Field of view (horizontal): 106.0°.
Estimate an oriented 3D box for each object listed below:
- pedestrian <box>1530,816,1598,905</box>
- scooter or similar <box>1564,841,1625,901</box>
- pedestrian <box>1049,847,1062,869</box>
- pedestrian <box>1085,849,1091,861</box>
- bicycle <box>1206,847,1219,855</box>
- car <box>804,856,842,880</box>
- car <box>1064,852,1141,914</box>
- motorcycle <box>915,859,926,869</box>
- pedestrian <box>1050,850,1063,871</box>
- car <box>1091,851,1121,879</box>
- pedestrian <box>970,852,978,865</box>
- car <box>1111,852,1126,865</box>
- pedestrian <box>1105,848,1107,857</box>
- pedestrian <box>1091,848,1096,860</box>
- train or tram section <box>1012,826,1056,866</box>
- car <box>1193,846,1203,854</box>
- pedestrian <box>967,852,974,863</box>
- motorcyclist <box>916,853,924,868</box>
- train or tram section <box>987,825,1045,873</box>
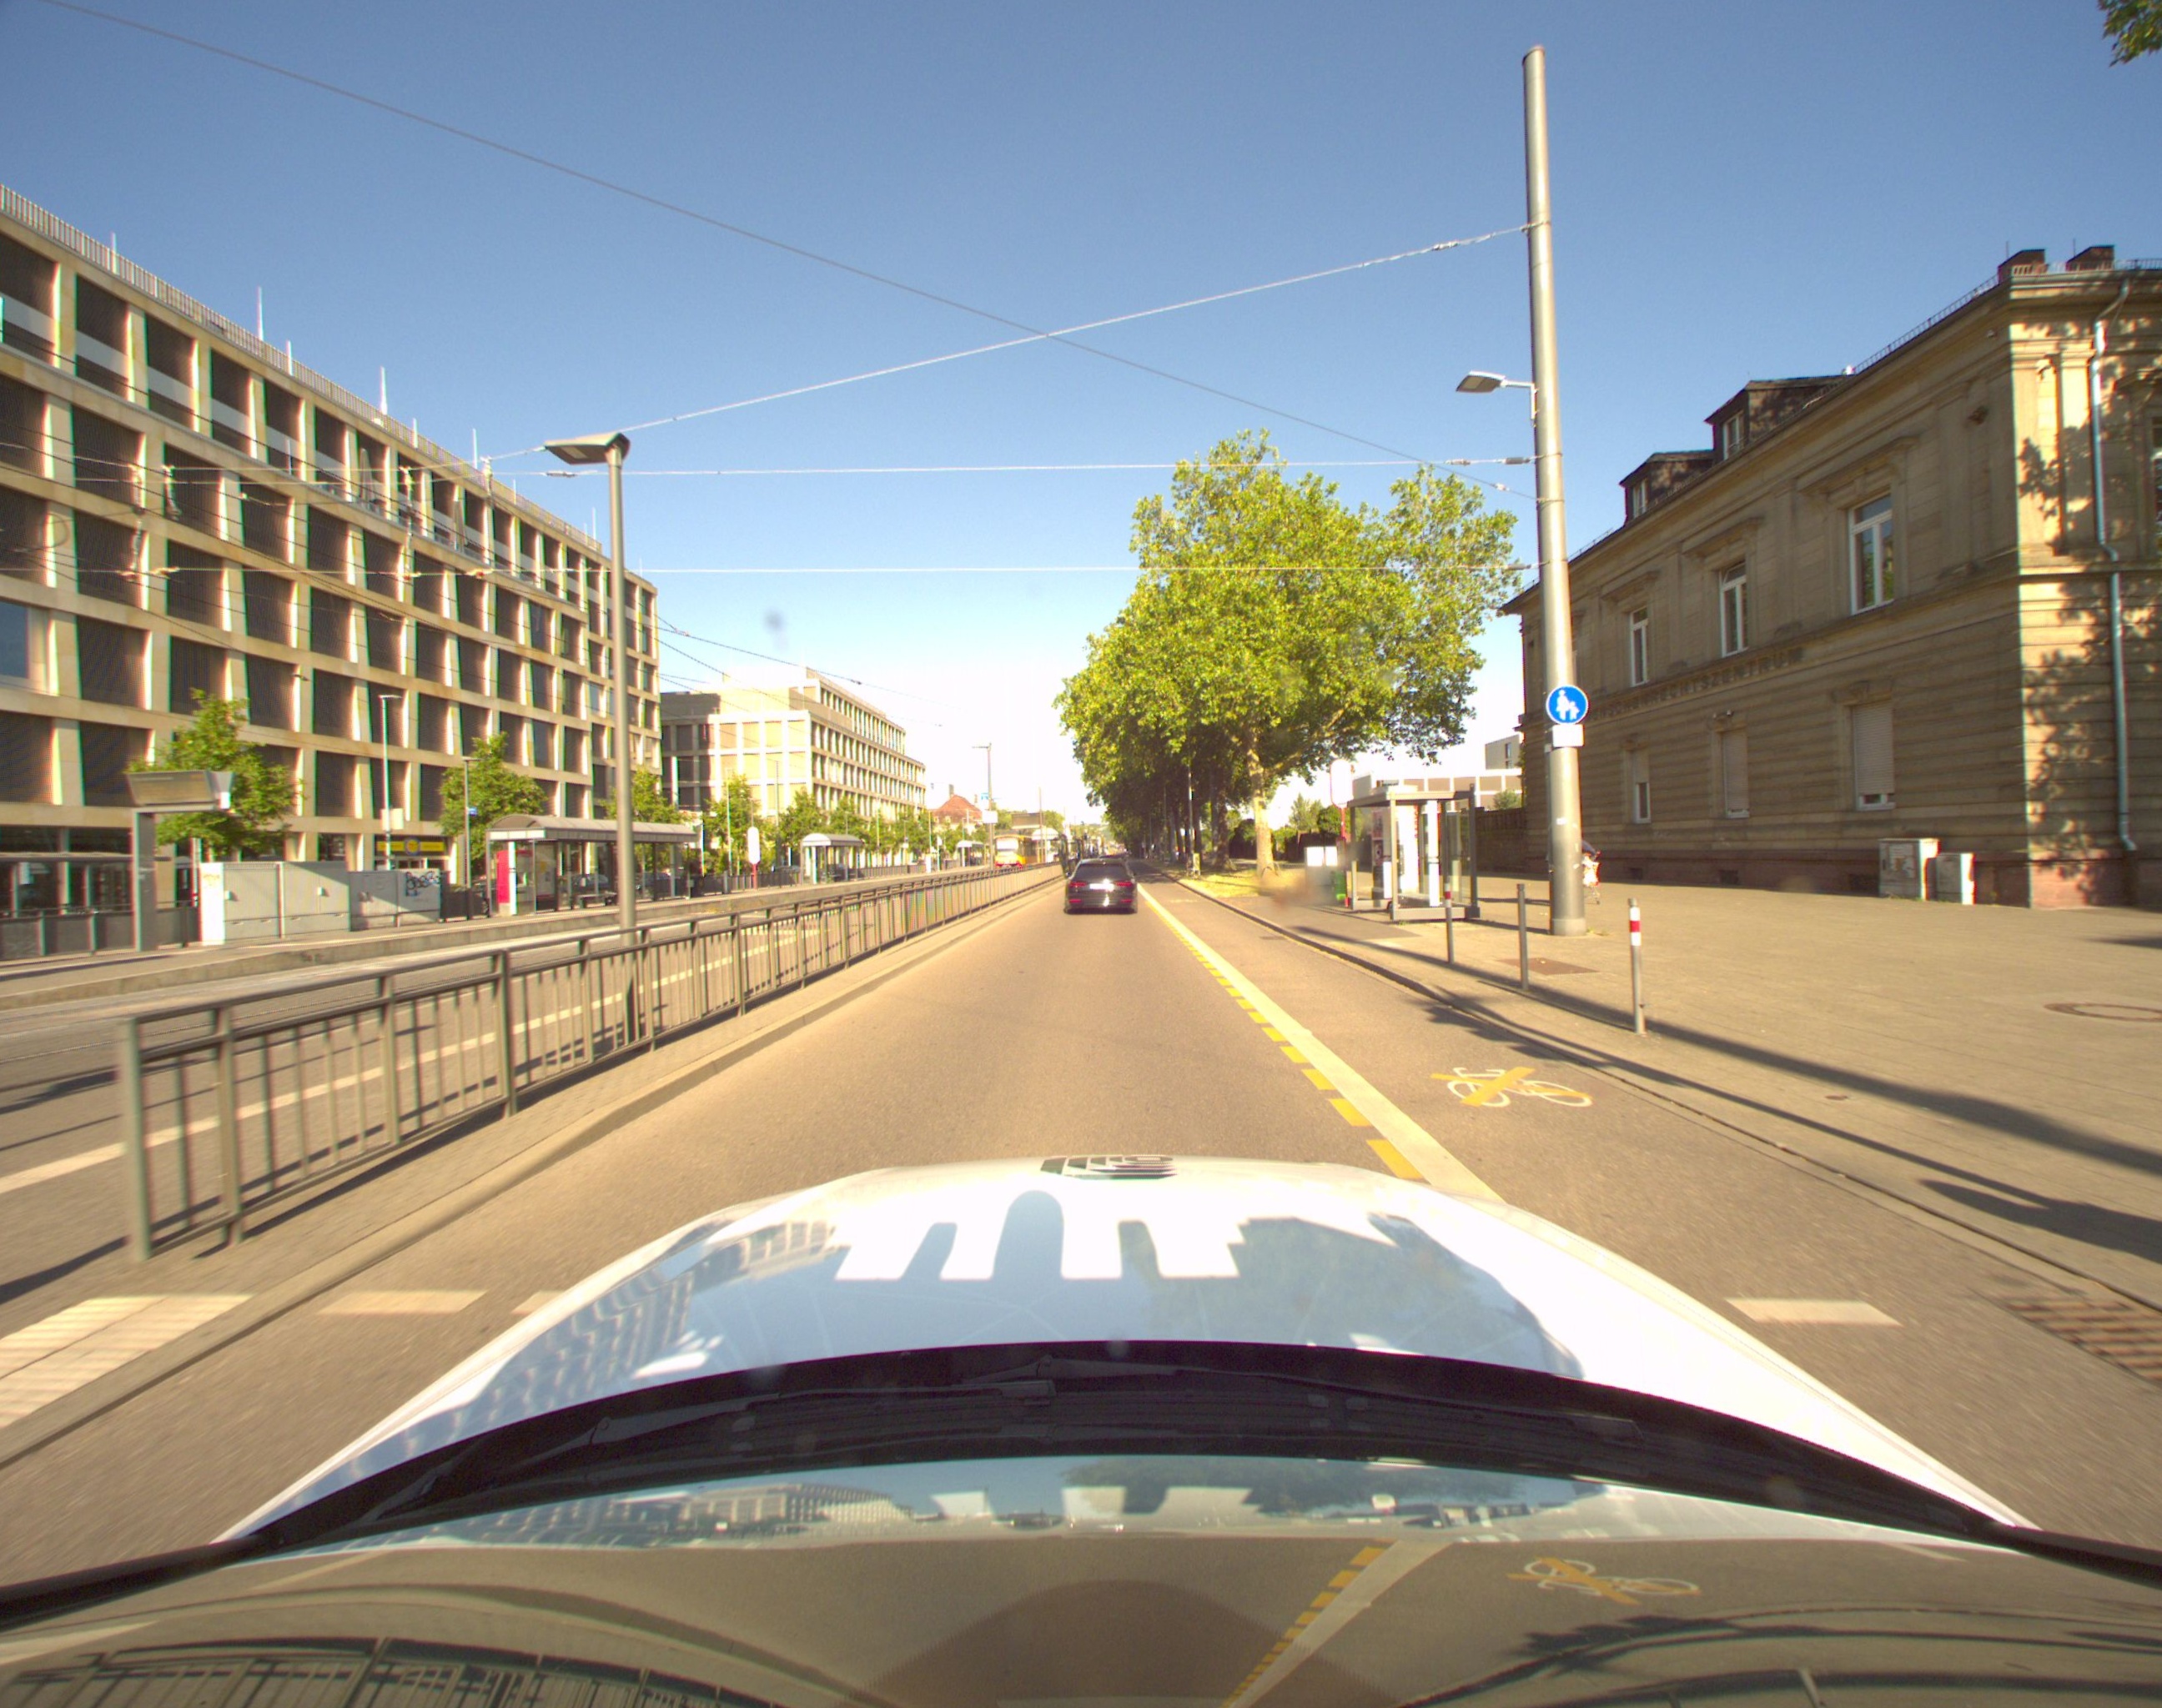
[{"bbox_3d":[9.915,0.129,16.738,0.770,1.744,0.793,-4,0,-13],"label":"pedestrian"},{"bbox_3d":[10.613,0.345,16.848,0.717,1.155,0.759,-4,0,-4],"label":"scooter or similar"},{"bbox_3d":[-1.707,0.265,55.042,0.742,1.508,0.667,-2,0,5],"label":"pedestrian"},{"bbox_3d":[0.864,0.101,101.348,0.610,1.548,0.727,-2,0,13],"label":"pedestrian"},{"bbox_3d":[18.721,-0.438,115.821,1.766,1.120,0.439,-3,0,1],"label":"bicycle"},{"bbox_3d":[-23.014,1.202,72.884,1.987,2.013,4.000,-2,0,1],"label":"car"},{"bbox_3d":[0.552,0.703,21.856,1.872,1.457,3.357,-2,0,1],"label":"car"},{"bbox_3d":[-17.266,1.023,87.606,0.602,1.021,1.843,-2,0,4],"label":"motorcycle"},{"bbox_3d":[-1.557,0.419,51.555,0.739,1.274,0.525,-2,0,2],"label":"pedestrian"},{"bbox_3d":[1.513,0.641,50.848,1.756,1.619,4.000,-2,0,1],"label":"car"},{"bbox_3d":[-13.030,0.586,99.164,0.610,1.527,0.727,-2,0,11],"label":"pedestrian"},{"bbox_3d":[4.975,0.632,108.968,1.756,1.619,4.000,-2,0,1],"label":"car"},{"bbox_3d":[4.826,-0.336,156.750,0.410,1.716,0.666,-2,0,3],"label":"pedestrian"},{"bbox_3d":[1.610,-0.008,107.381,0.608,1.668,0.614,-2,0,4],"label":"pedestrian"},{"bbox_3d":[-4.909,-0.821,87.240,3.295,3.829,11.852,-2,0,3],"label":"train or tram section"},{"bbox_3d":[22.826,-0.730,158.887,1.607,1.515,3.806,-2,0,3],"label":"car"},{"bbox_3d":[-13.095,0.407,96.716,0.611,1.260,0.726,-2,0,7],"label":"pedestrian"},{"bbox_3d":[-17.273,0.723,87.555,0.573,1.533,0.765,-2,0,3],"label":"motorcyclist"},{"bbox_3d":[-5.672,-0.412,74.106,3.295,3.829,14.229,-2,0,3],"label":"train or tram section"}]
